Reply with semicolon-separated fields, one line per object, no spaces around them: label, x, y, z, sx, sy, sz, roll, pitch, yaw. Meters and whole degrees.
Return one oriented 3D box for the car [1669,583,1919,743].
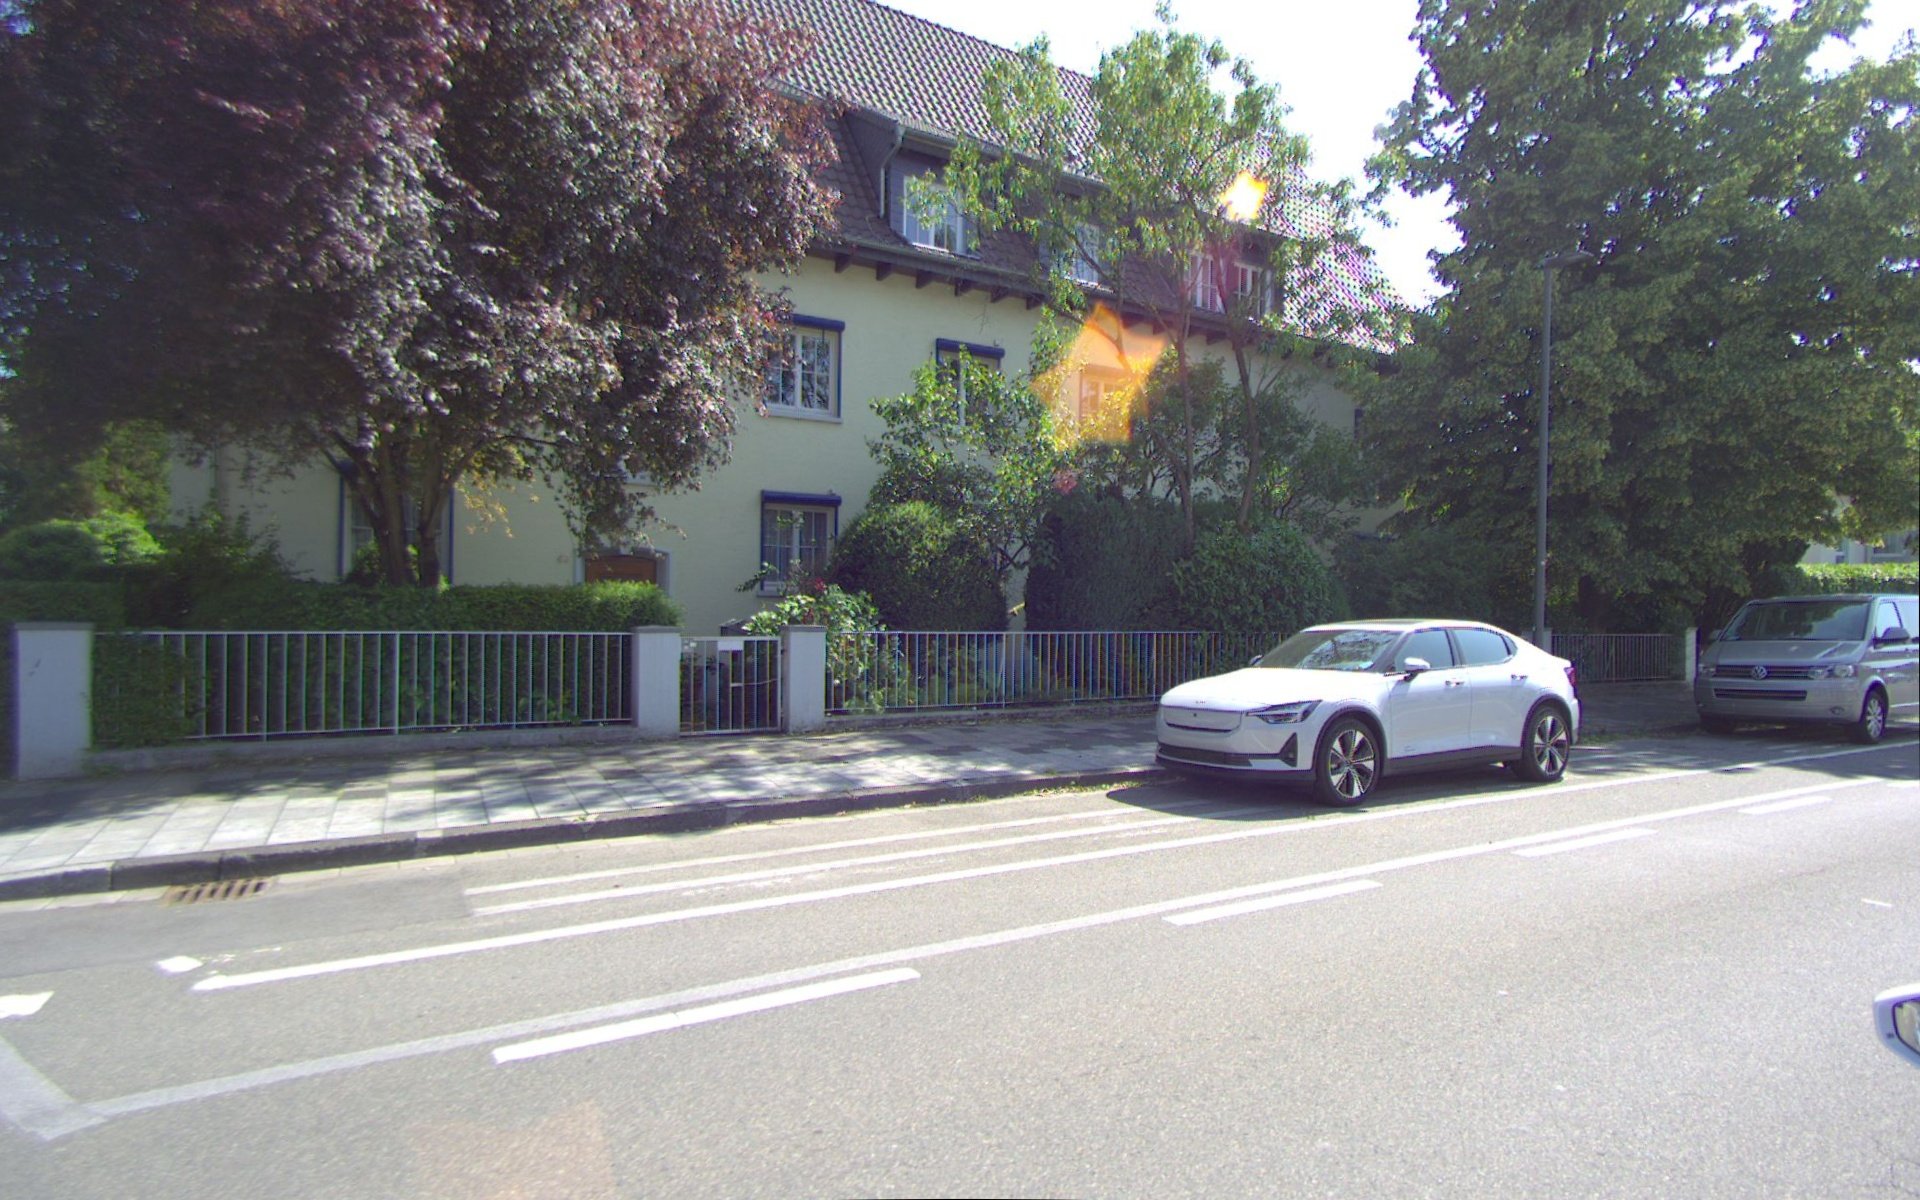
car;12.371;0.832;14.196;4.806;1.945;1.878;1;-2;-28

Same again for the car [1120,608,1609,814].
car;3.820;0.862;9.285;4.508;1.505;1.825;1;-2;-30
